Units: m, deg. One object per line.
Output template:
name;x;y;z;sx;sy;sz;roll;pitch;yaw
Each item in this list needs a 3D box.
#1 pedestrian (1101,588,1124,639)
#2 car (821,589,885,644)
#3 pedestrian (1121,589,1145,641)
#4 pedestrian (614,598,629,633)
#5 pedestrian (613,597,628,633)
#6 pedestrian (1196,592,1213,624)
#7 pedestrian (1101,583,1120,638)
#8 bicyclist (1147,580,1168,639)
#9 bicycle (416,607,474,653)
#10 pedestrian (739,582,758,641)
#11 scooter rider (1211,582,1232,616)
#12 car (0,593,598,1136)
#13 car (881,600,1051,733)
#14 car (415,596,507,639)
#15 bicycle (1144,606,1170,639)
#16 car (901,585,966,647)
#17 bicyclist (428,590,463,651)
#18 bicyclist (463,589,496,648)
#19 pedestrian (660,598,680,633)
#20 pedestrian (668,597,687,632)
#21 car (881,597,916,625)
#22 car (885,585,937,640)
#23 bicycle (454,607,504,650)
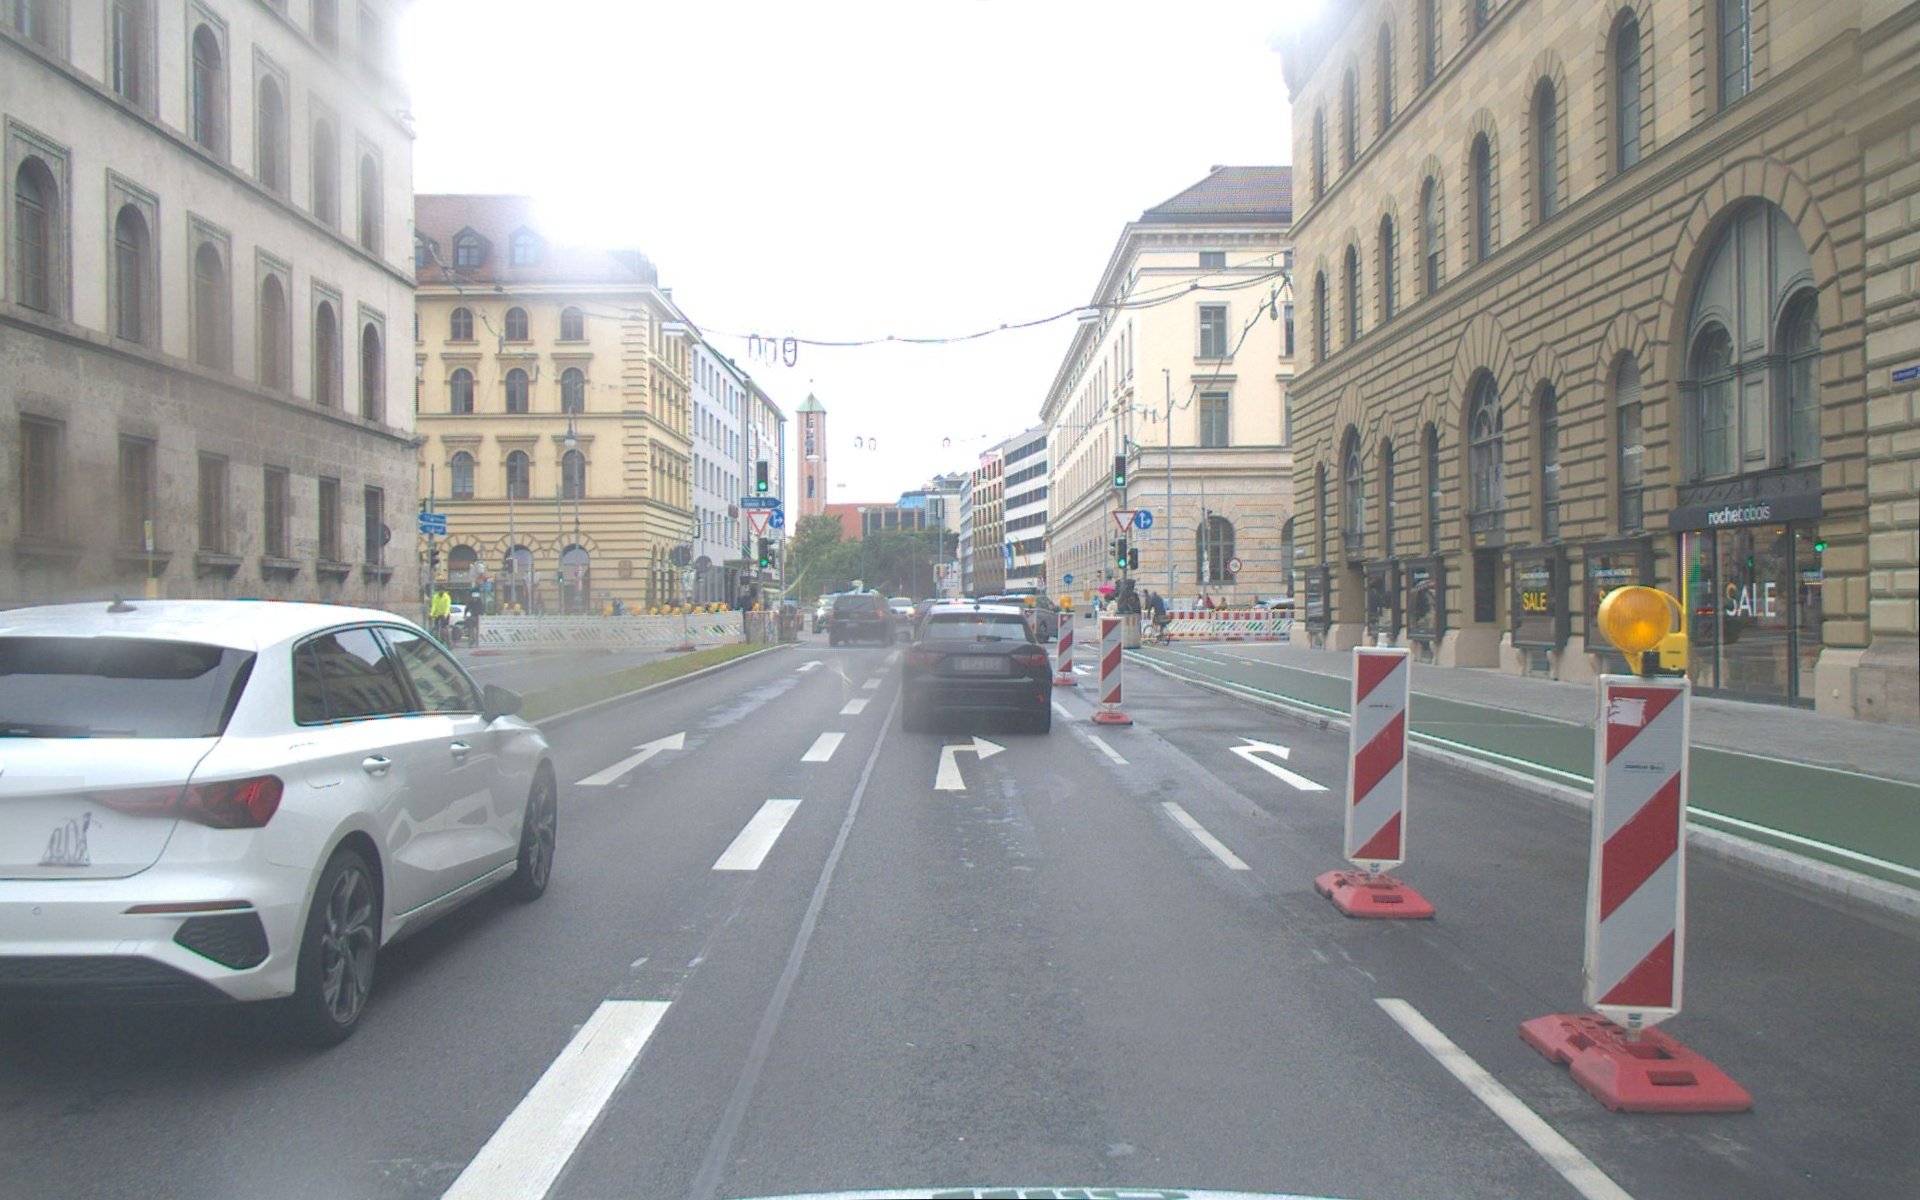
pedestrian;4.824;0.420;52.455;0.688;1.594;0.541;0;0;1
car;-3.309;0.484;51.733;1.827;1.629;3.850;-1;0;-1
pedestrian;5.394;0.464;51.470;0.688;1.594;0.682;0;0;1
pedestrian;-17.408;0.777;84.984;0.720;1.803;0.737;0;0;-11
pedestrian;-17.294;0.762;84.252;0.720;1.803;0.737;0;0;-11
pedestrian;12.424;0.414;83.990;0.800;1.584;0.667;0;0;7
pedestrian;4.599;0.318;50.445;0.520;1.648;0.674;0;0;2
bicyclist;6.375;0.311;53.348;0.554;1.886;0.799;0;0;-3
bicycle;-15.067;0.860;48.452;0.770;1.264;2.450;0;0;4
pedestrian;-6.469;0.334;50.509;0.503;1.773;1.041;0;0;-10
scooter rider;12.557;-0.047;79.291;0.913;1.651;0.592;0;0;1
car;-2.838;0.708;6.693;1.776;1.449;4.452;1;0;0
car;0.039;0.722;19.823;1.825;1.412;3.999;0;0;-1
car;-22.142;0.782;73.535;3.671;1.830;1.864;-1;0;-9
bicycle;6.369;0.721;53.435;0.573;1.029;1.656;0;0;-2
car;-0.780;0.419;46.273;1.733;1.645;3.998;0;0;-2
bicyclist;-15.062;0.587;48.461;0.781;1.779;0.689;0;0;3
bicyclist;-14.929;0.568;51.422;0.781;1.807;0.689;0;0;3
pedestrian;-14.927;0.795;85.051;0.718;1.803;0.761;0;0;20
pedestrian;-14.656;0.766;85.773;0.718;1.803;0.739;0;0;20
car;-3.529;0.597;95.529;1.953;1.550;4.232;-1;0;-1
car;-1.902;0.473;65.053;1.953;2.049;3.999;-1;0;-1
bicycle;-14.936;0.867;51.426;0.770;1.264;2.200;0;0;4
